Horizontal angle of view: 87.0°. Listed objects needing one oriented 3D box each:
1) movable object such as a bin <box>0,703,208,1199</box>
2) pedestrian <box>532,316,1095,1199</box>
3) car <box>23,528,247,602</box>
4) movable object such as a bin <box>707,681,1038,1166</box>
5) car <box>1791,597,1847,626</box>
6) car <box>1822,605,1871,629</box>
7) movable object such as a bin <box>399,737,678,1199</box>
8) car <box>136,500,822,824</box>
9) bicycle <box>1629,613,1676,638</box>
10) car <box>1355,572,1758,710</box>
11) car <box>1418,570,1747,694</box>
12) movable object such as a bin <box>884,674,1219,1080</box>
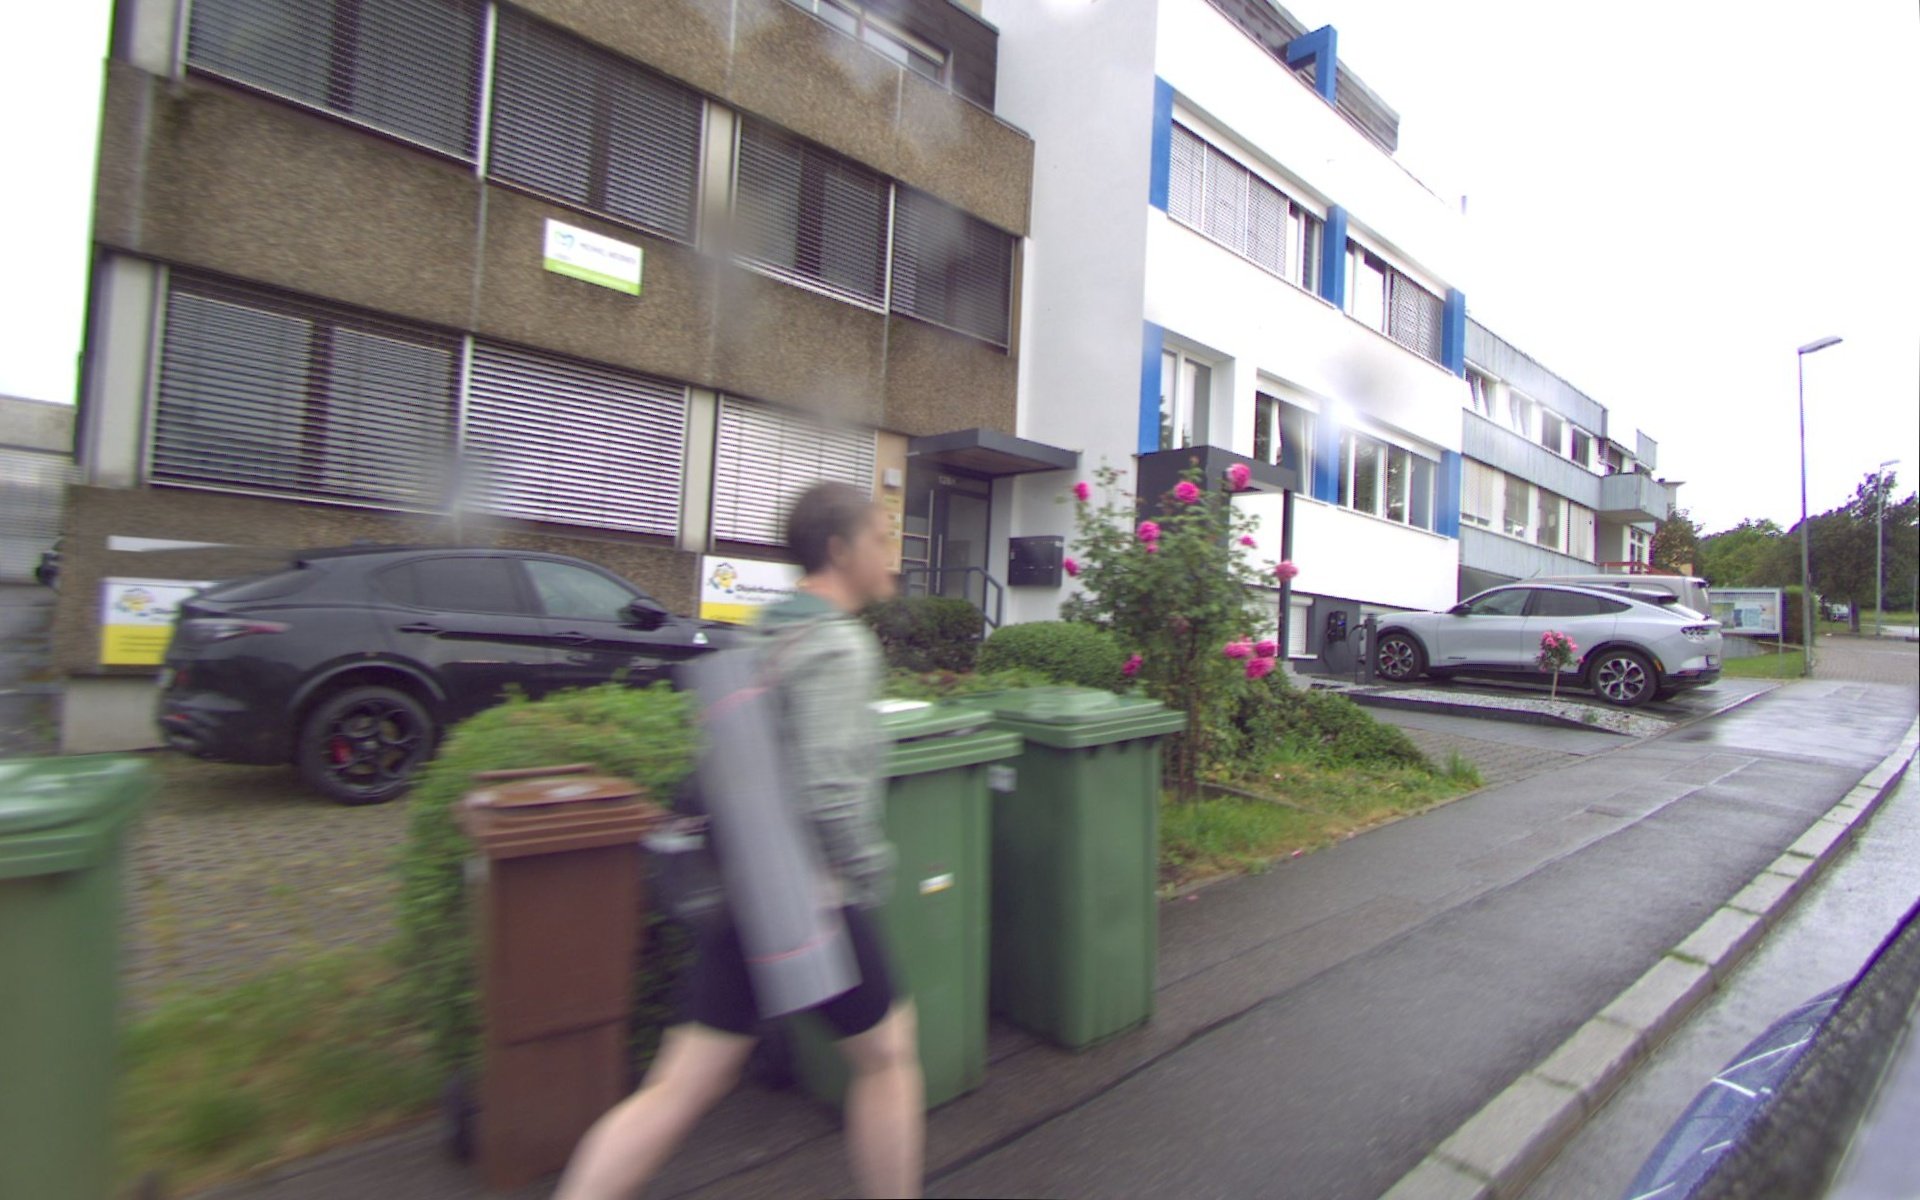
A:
[{"bbox_3d":[-1.835,0.792,1.772,0.689,1.127,0.732,1,-1,-26],"label":"movable object such as a bin"},{"bbox_3d":[-0.286,0.497,1.945,0.794,1.790,0.738,1,0,-41],"label":"pedestrian"},{"bbox_3d":[-19.809,-0.823,24.468,1.847,1.587,3.793,4,2,28],"label":"car"},{"bbox_3d":[-0.263,0.812,2.914,0.625,1.080,0.744,1,-1,-41],"label":"movable object such as a bin"},{"bbox_3d":[72.692,0.976,85.722,2.030,2.361,5.366,1,0,22],"label":"car"},{"bbox_3d":[70.231,1.339,80.273,1.799,1.748,4.609,1,1,27],"label":"car"},{"bbox_3d":[-1.049,0.877,2.514,0.505,0.979,0.473,1,-1,-41],"label":"movable object such as a bin"},{"bbox_3d":[-3.370,0.318,7.692,4.398,1.772,1.751,0,1,-43],"label":"car"},{"bbox_3d":[26.433,0.973,38.657,1.456,0.913,0.284,1,0,25],"label":"bicycle"},{"bbox_3d":[8.442,0.462,14.667,2.044,1.557,4.604,1,2,-42],"label":"car"},{"bbox_3d":[10.366,0.429,17.071,2.054,1.795,4.345,1,1,-44],"label":"car"},{"bbox_3d":[0.300,0.809,3.366,0.794,1.043,0.773,1,-1,-41],"label":"movable object such as a bin"}]
